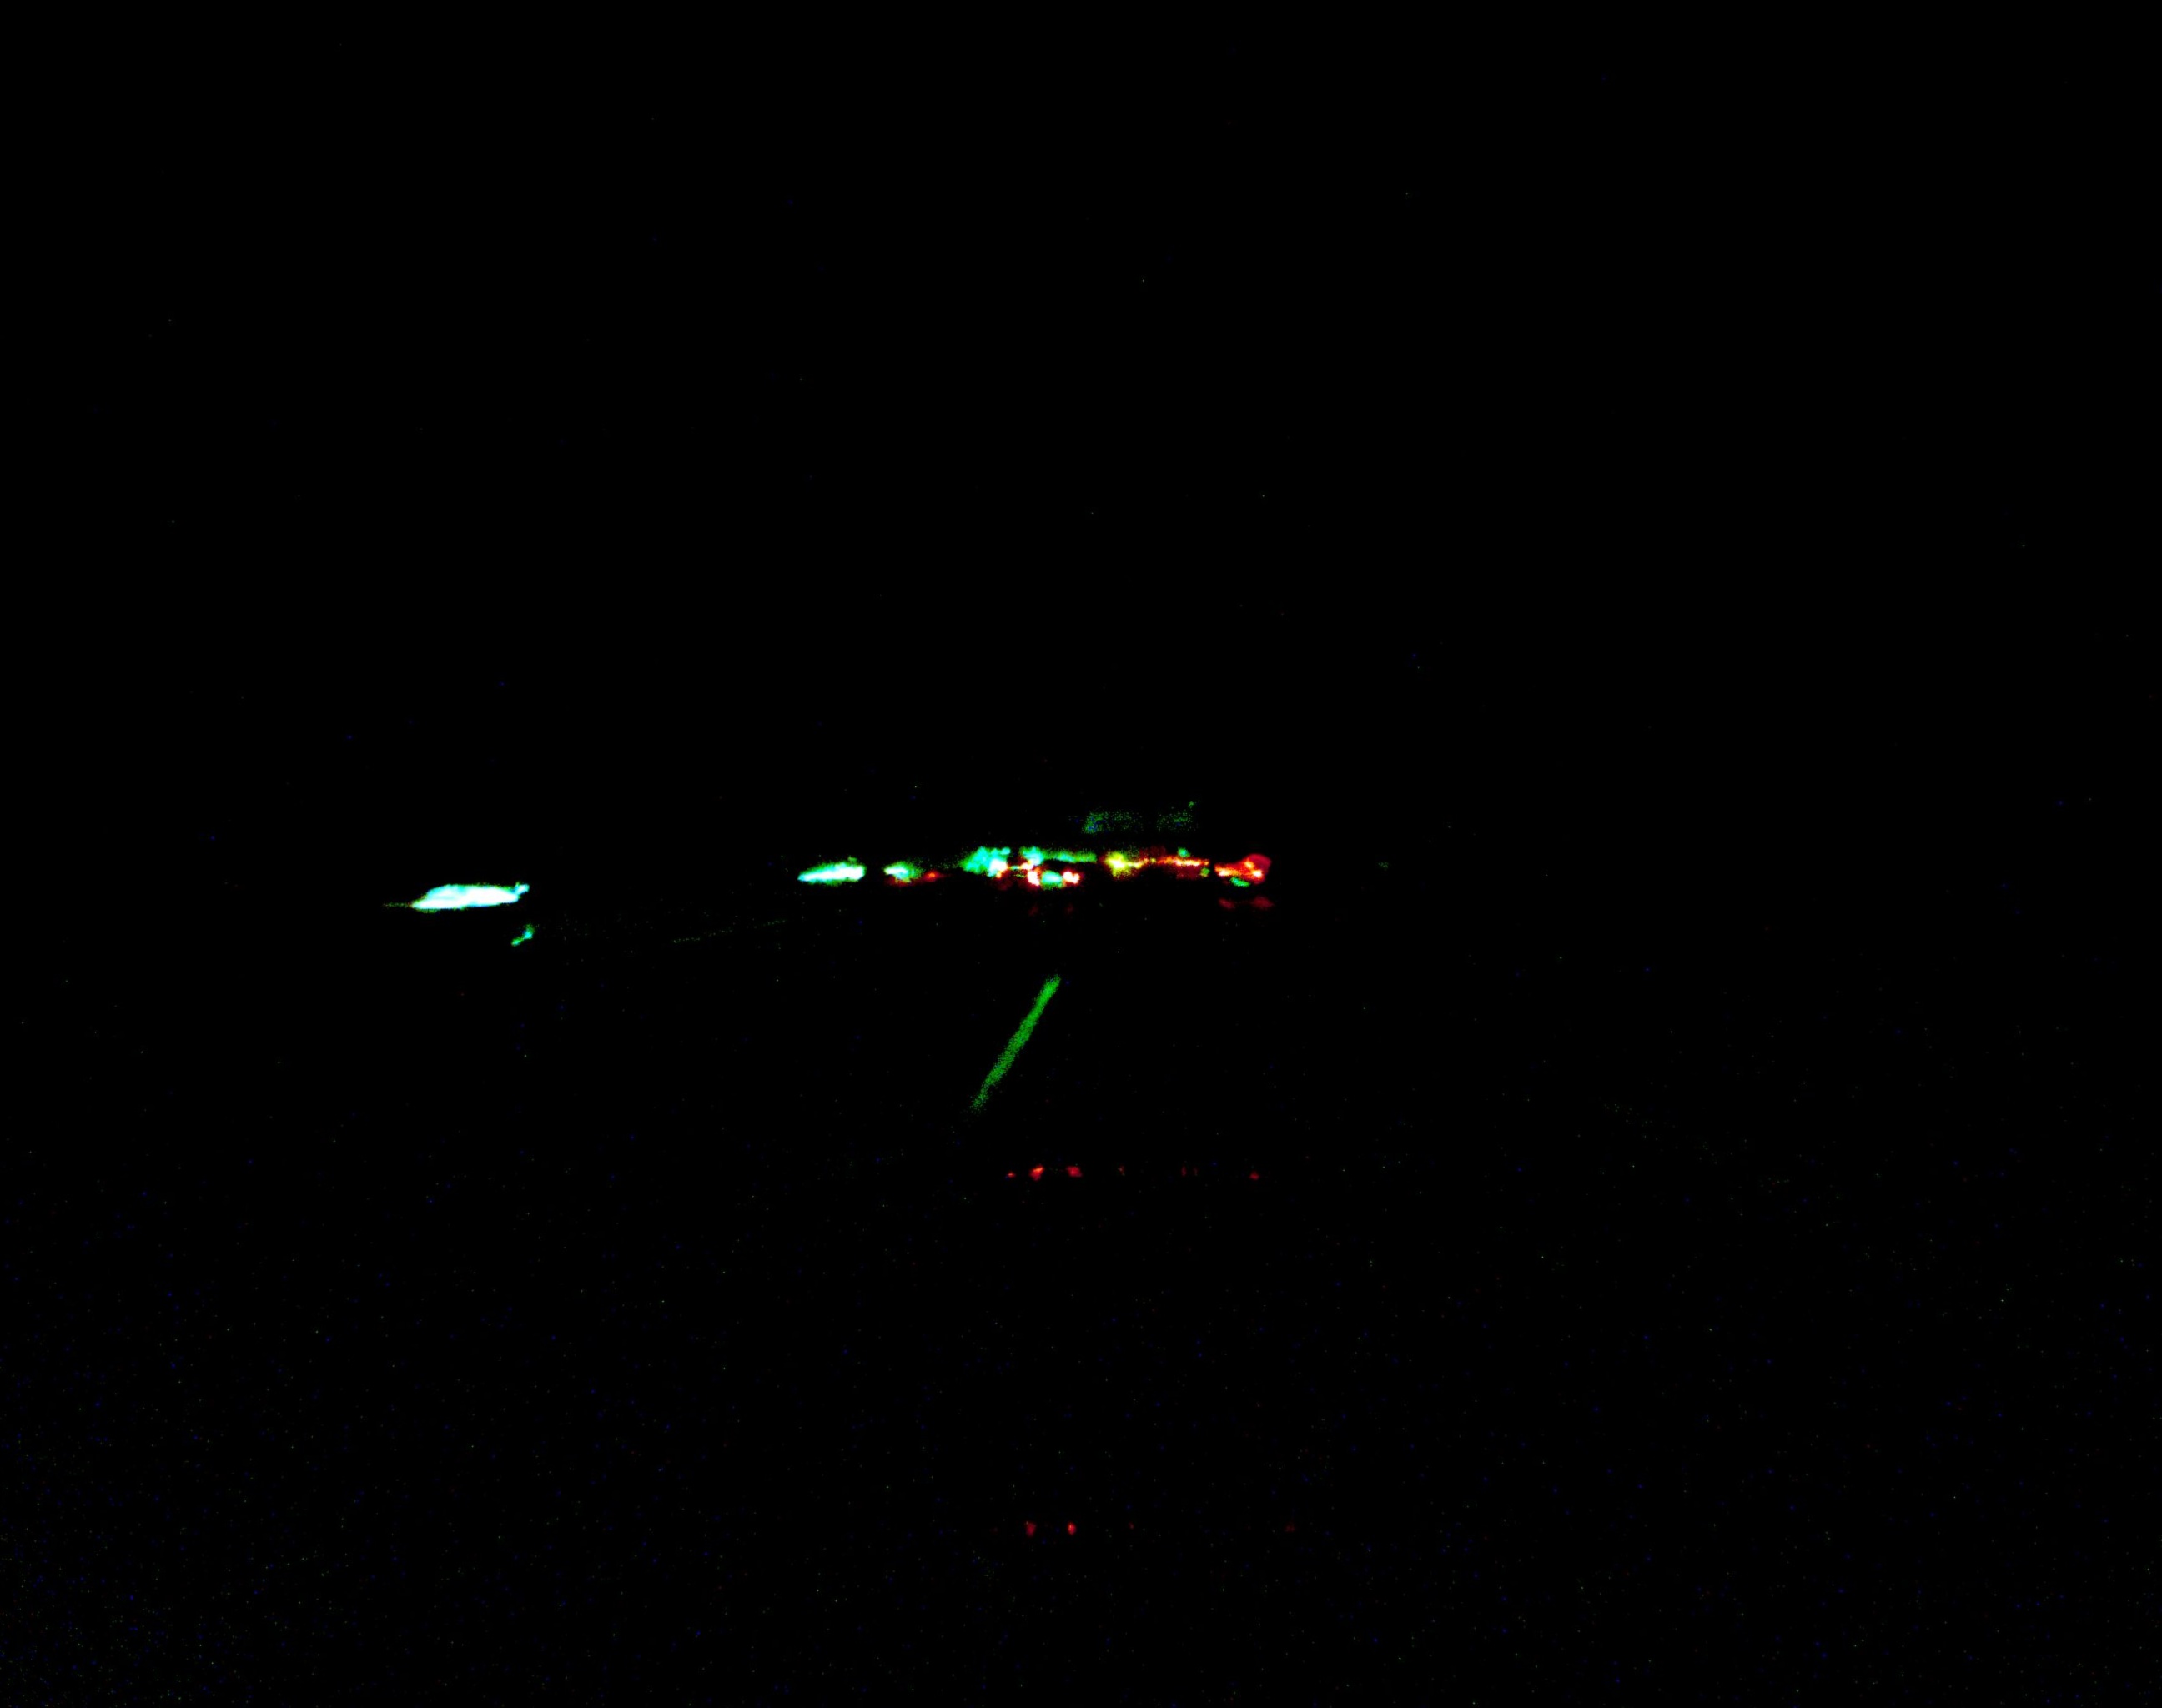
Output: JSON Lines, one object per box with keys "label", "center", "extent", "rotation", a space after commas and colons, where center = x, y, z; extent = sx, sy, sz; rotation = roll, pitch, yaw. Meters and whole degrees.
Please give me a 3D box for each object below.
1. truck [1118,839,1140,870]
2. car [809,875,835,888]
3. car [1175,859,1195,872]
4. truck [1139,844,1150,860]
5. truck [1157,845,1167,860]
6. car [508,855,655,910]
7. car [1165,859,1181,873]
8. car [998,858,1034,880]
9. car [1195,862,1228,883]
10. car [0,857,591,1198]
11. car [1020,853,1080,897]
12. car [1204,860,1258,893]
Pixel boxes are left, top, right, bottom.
{"label": "truck", "center": [5.246, 0.108, 88.399], "extent": [1.984, 3.043, 6.473], "rotation": [-4, -1, 5]}
{"label": "car", "center": [-28.337, 3.037, 89.179], "extent": [1.479, 1.284, 3.559], "rotation": [-1, 0, 4]}
{"label": "car", "center": [10.190, 1.081, 79.767], "extent": [1.576, 1.246, 3.068], "rotation": [0, -1, 0]}
{"label": "truck", "center": [12.625, -0.390, 161.328], "extent": [1.984, 3.043, 6.473], "rotation": [-4, -1, 5]}
{"label": "truck", "center": [17.988, -0.273, 180.820], "extent": [1.984, 3.043, 6.473], "rotation": [-4, -1, 5]}
{"label": "car", "center": [-16.723, 0.938, 27.608], "extent": [1.660, 1.597, 4.894], "rotation": [-4, -1, 3]}
{"label": "car", "center": [11.461, 1.503, 101.973], "extent": [1.854, 1.618, 4.005], "rotation": [0, -1, 5]}
{"label": "car", "center": [-3.952, 0.916, 49.994], "extent": [1.656, 1.236, 3.763], "rotation": [-4, -1, 2]}
{"label": "car", "center": [8.144, 1.128, 50.932], "extent": [1.576, 1.246, 3.068], "rotation": [0, -1, 0]}
{"label": "car", "center": [-5.855, 0.831, 5.582], "extent": [1.850, 1.540, 4.756], "rotation": [-1, 0, 4]}
{"label": "car", "center": [-1.052, 0.718, 29.799], "extent": [1.794, 1.487, 4.004], "rotation": [-1, 0, 3]}
{"label": "car", "center": [5.895, 0.867, 32.378], "extent": [1.576, 1.246, 3.068], "rotation": [0, -1, 0]}
